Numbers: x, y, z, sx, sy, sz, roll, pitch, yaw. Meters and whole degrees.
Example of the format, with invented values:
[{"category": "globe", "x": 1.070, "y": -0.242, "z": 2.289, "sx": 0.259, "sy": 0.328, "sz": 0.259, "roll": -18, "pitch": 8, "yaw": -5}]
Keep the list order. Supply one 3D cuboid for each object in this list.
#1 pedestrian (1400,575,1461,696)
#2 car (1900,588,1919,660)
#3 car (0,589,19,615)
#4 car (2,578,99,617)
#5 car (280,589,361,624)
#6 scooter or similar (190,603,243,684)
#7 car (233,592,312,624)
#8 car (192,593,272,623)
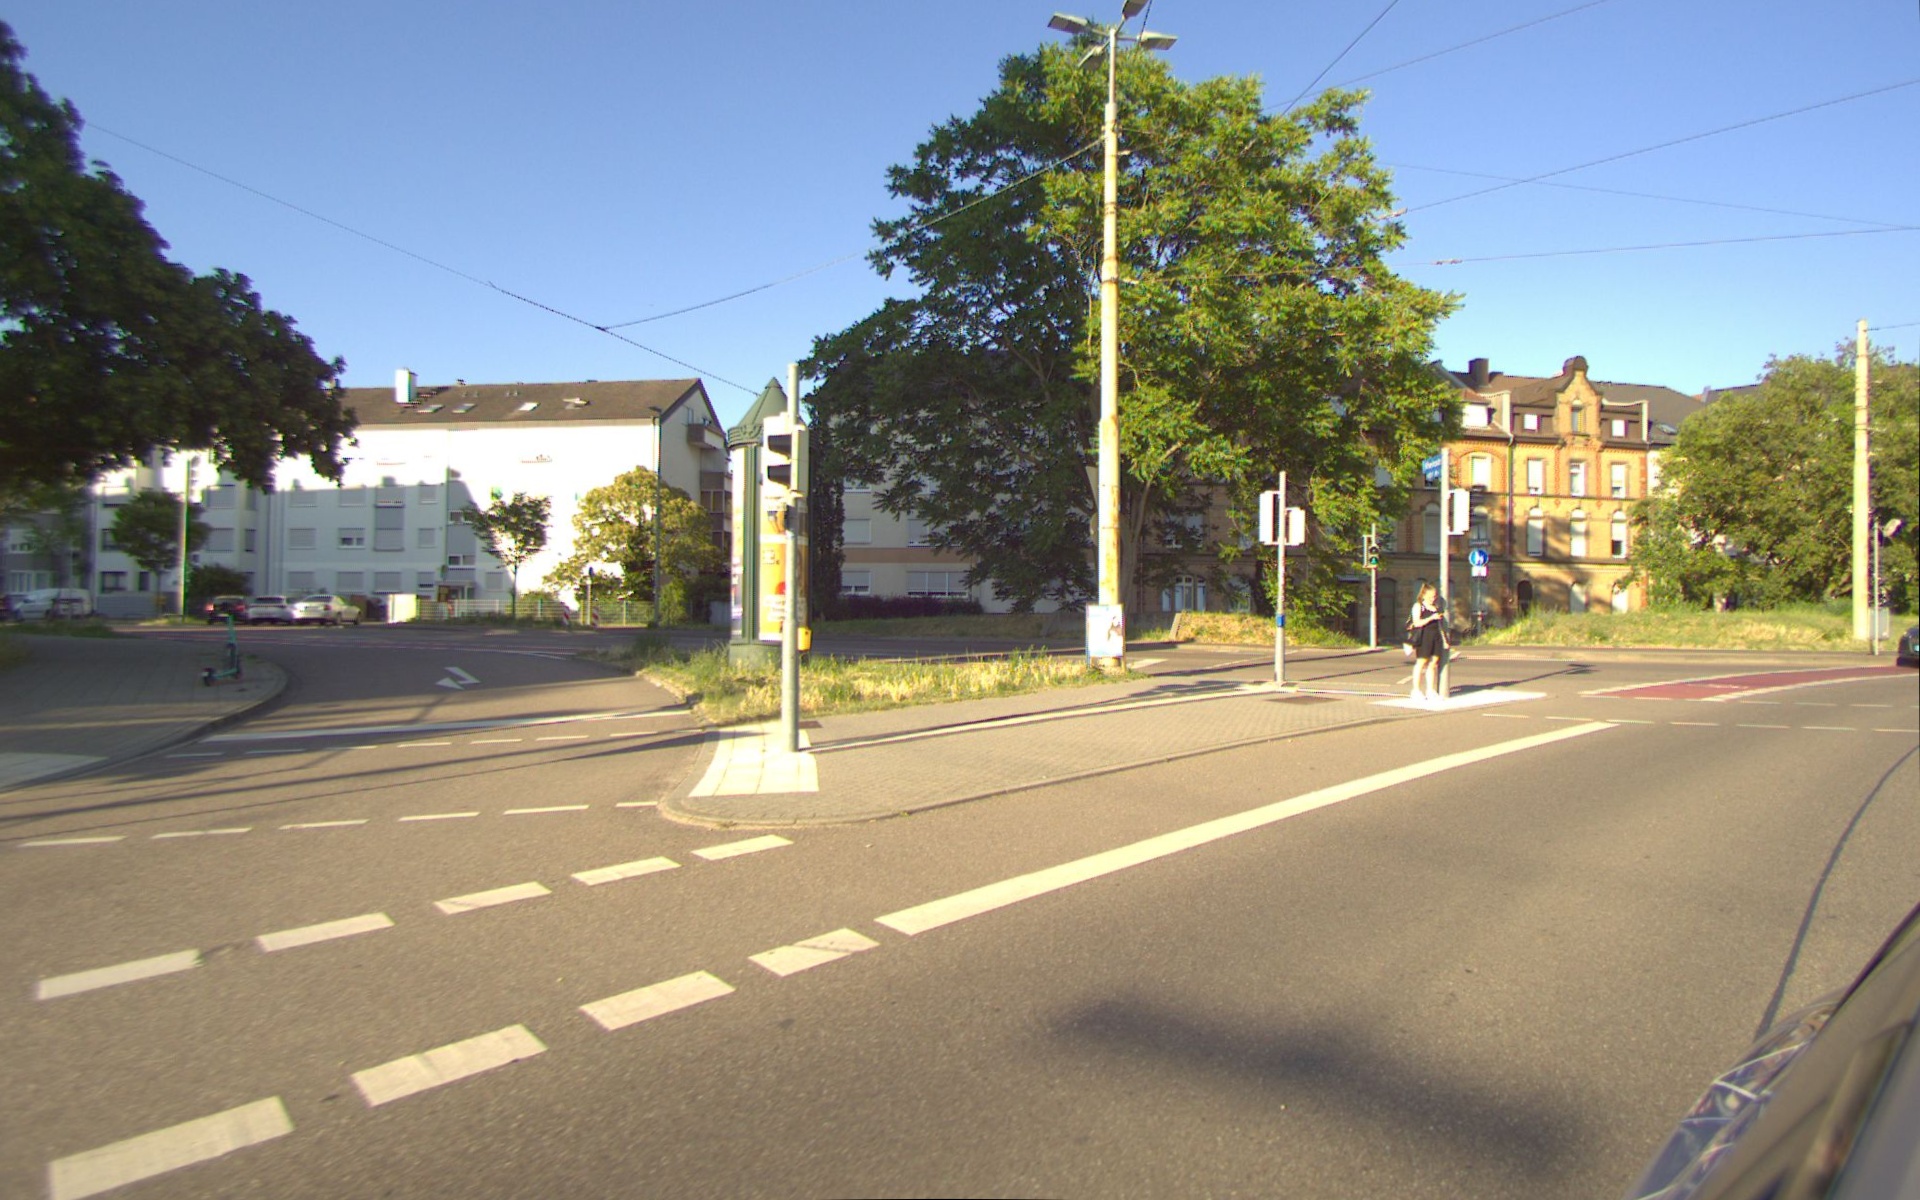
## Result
[{"category": "pedestrian", "x": 6.485, "y": 0.483, "z": 13.959, "sx": 0.617, "sy": 1.633, "sz": 0.438, "roll": 0, "pitch": 0, "yaw": -3}, {"category": "car", "x": 23.394, "y": 0.577, "z": 22.348, "sx": 3.983, "sy": 1.607, "sz": 1.775, "roll": 1, "pitch": 1, "yaw": -10}, {"category": "car", "x": -53.918, "y": 0.106, "z": 55.107, "sx": 3.911, "sy": 1.403, "sz": 1.913, "roll": 0, "pitch": -2, "yaw": 10}, {"category": "car", "x": -48.184, "y": -0.137, "z": 53.650, "sx": 3.941, "sy": 2.039, "sz": 1.991, "roll": 0, "pitch": 0, "yaw": 14}, {"category": "car", "x": -30.310, "y": 0.301, "z": 48.096, "sx": 1.743, "sy": 1.583, "sz": 4.233, "roll": 0, "pitch": 0, "yaw": -9}, {"category": "scooter or similar", "x": -11.412, "y": 0.646, "z": 15.559, "sx": 0.320, "sy": 1.185, "sz": 1.304, "roll": 1, "pitch": 0, "yaw": -21}, {"category": "car", "x": -32.928, "y": 0.348, "z": 48.587, "sx": 1.863, "sy": 1.444, "sz": 4.008, "roll": 0, "pitch": 0, "yaw": -14}, {"category": "car", "x": -35.992, "y": 0.367, "z": 50.144, "sx": 1.863, "sy": 1.400, "sz": 4.008, "roll": 0, "pitch": 0, "yaw": -14}]
